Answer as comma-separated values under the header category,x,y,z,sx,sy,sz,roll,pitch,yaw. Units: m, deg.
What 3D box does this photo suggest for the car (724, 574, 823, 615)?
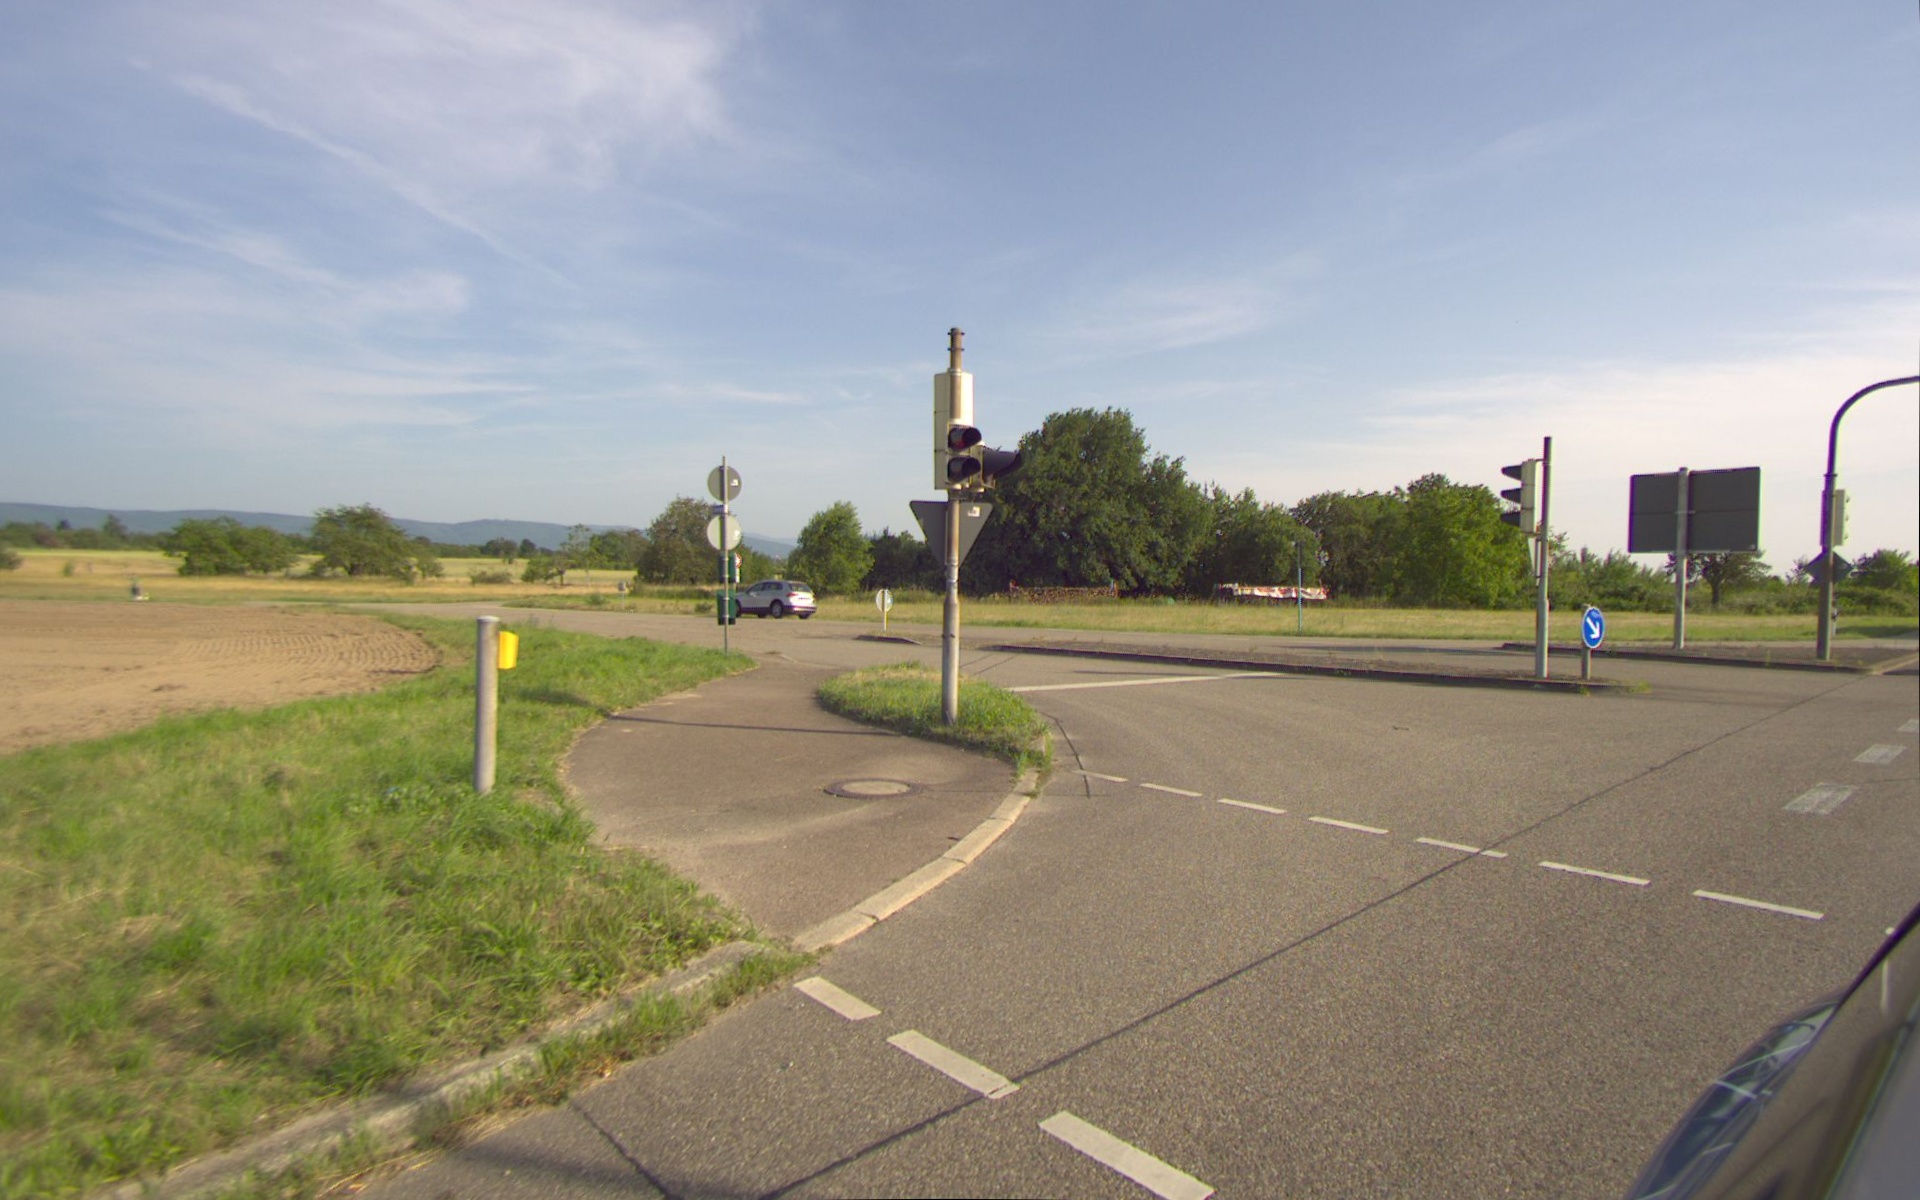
category,x,y,z,sx,sy,sz,roll,pitch,yaw
car,-8.048,-0.227,43.519,3.973,1.672,1.976,0,0,35
